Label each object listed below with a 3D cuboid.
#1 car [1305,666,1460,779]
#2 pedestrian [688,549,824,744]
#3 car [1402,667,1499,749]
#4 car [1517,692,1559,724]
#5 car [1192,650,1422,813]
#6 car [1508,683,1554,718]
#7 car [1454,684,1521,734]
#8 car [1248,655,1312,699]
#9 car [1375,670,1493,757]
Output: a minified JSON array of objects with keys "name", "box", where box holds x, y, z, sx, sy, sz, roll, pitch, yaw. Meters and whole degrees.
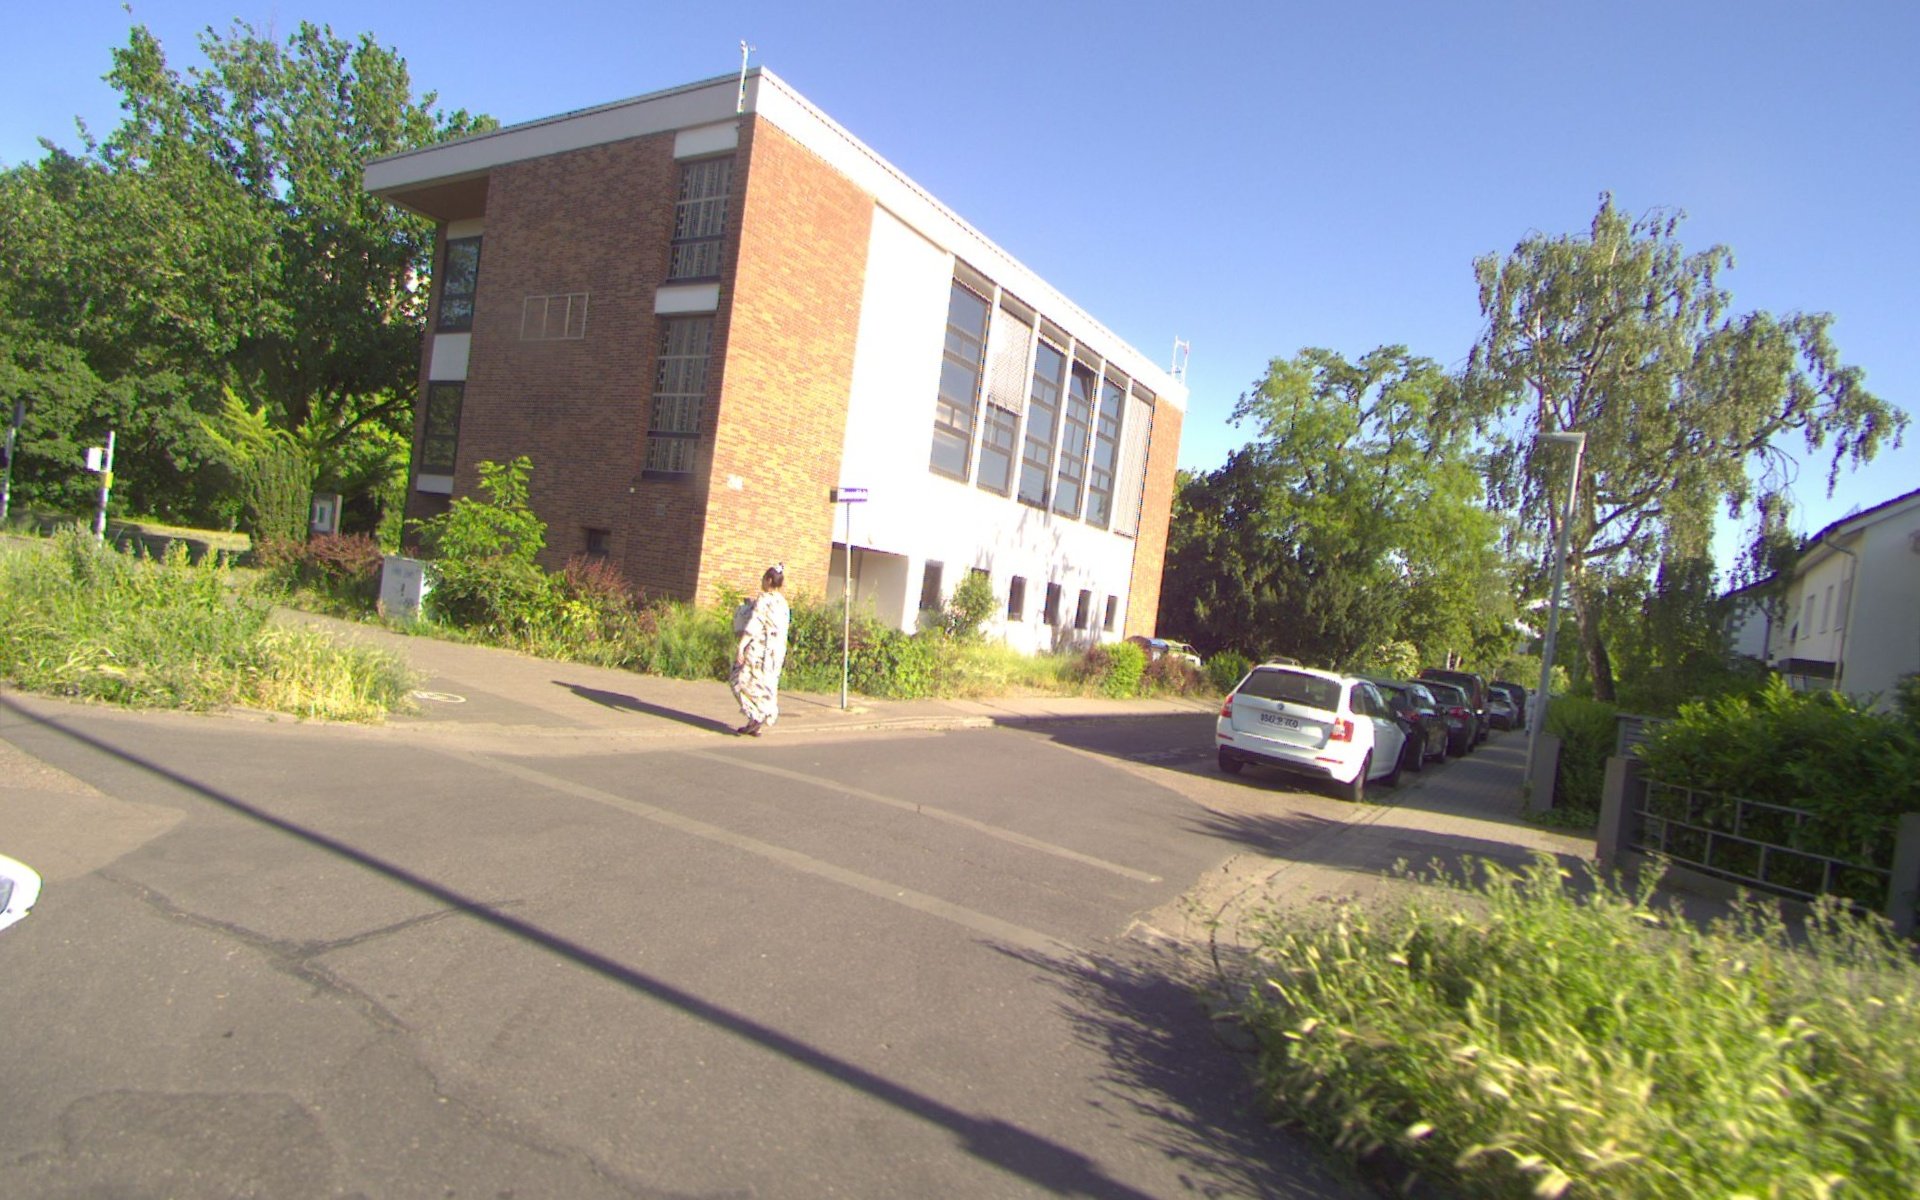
[{"name":"car","box":[7.695,2.147,18.113,1.776,1.520,3.948,9,0,32]},{"name":"pedestrian","box":[-2.068,0.486,10.257,0.725,1.843,0.900,7,-1,35]},{"name":"car","box":[13.463,2.919,27.493,1.776,1.815,3.948,9,0,32]},{"name":"car","box":[33.637,6.262,58.463,1.776,1.520,3.948,9,0,32]},{"name":"car","box":[4.695,1.625,13.184,1.776,1.520,4.200,9,0,32]},{"name":"car","box":[30.320,5.320,53.380,1.776,1.520,3.948,9,0,32]},{"name":"car","box":[20.120,4.131,38.297,1.776,1.520,3.948,9,0,32]},{"name":"car","box":[13.720,3.312,42.986,1.793,1.536,3.998,7,-2,28]},{"name":"car","box":[10.792,2.532,22.761,1.776,1.520,3.948,9,0,32]}]
